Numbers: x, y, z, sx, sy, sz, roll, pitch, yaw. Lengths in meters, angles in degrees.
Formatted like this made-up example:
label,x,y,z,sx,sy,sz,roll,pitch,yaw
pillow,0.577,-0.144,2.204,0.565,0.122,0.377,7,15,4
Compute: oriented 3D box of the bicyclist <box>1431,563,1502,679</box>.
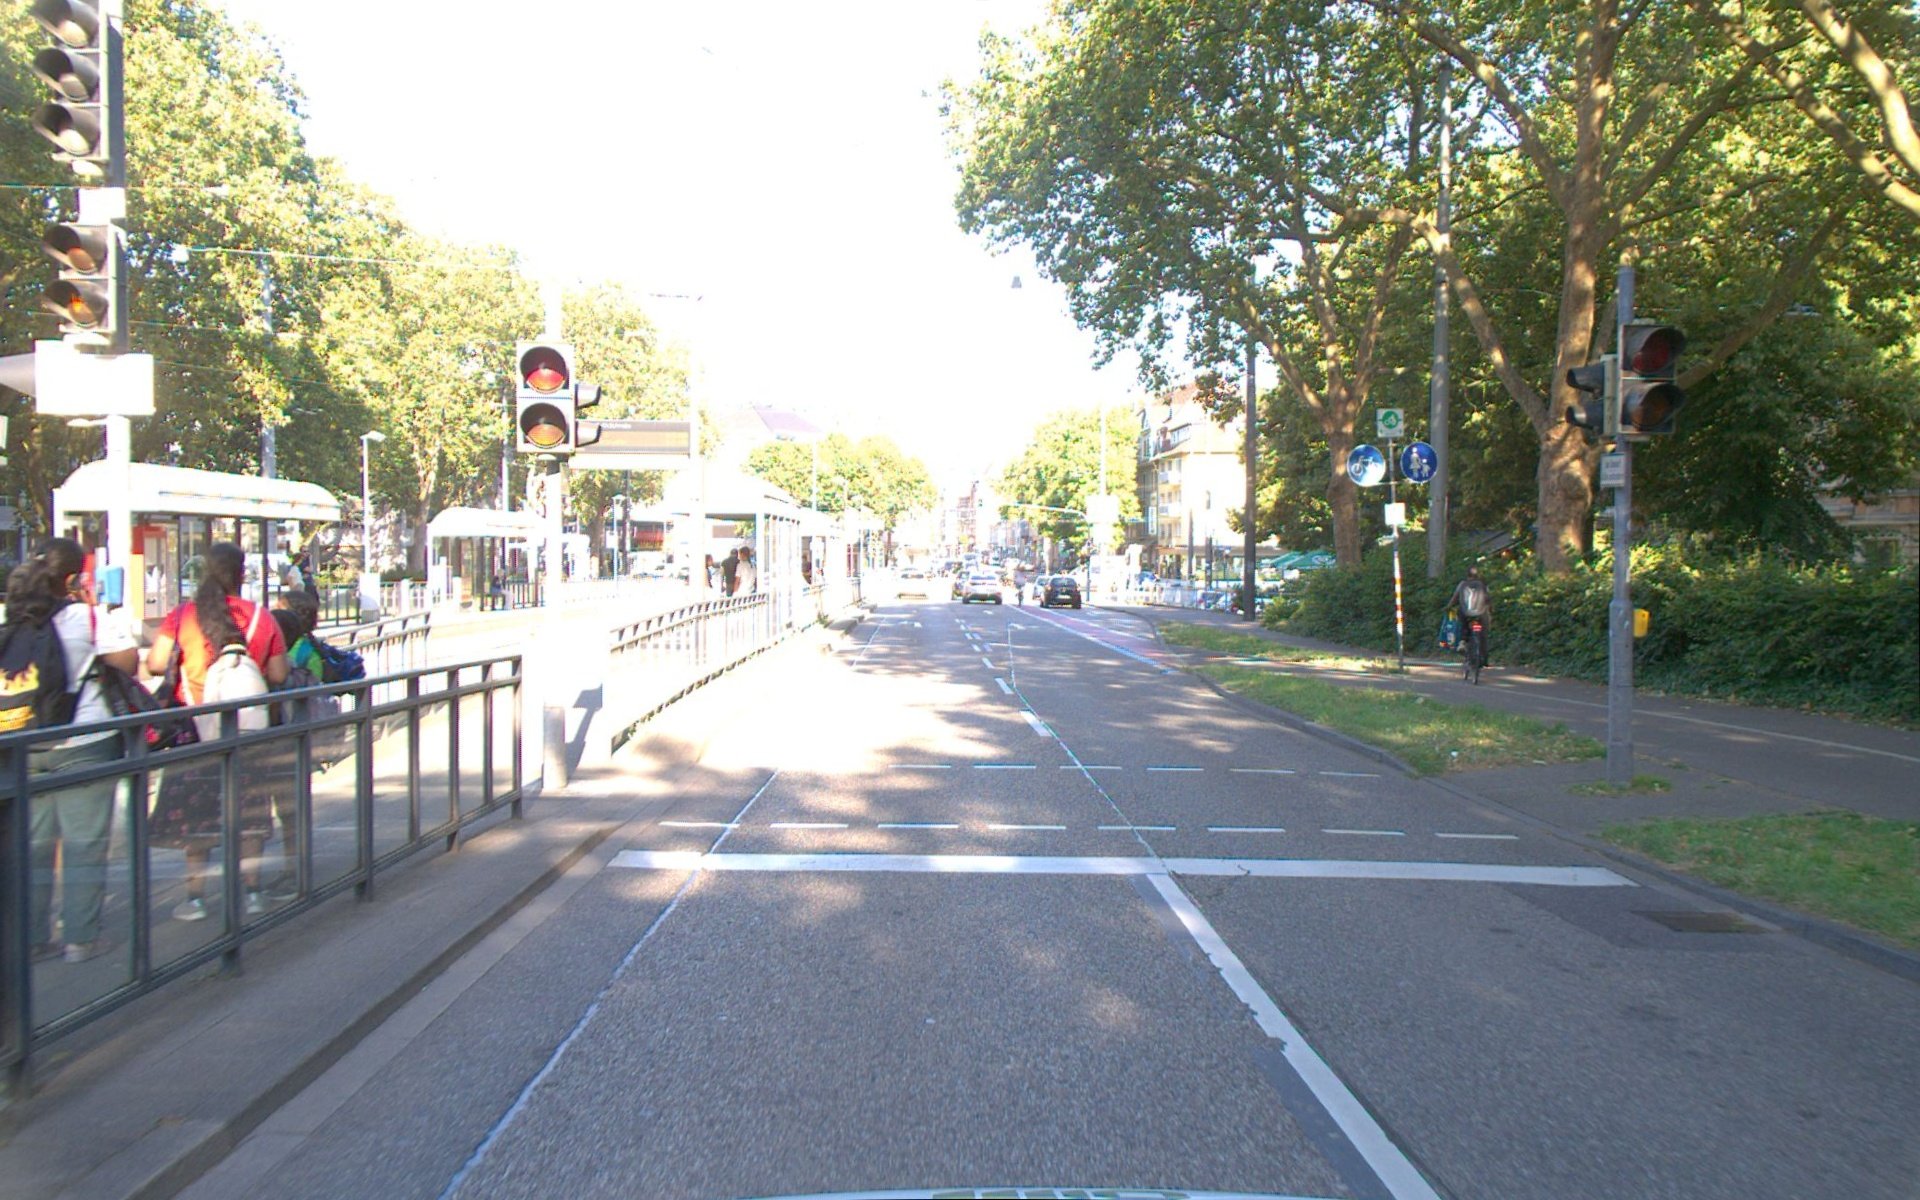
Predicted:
label,x,y,z,sx,sy,sz,roll,pitch,yaw
bicyclist,6.853,0.275,22.395,0.750,1.539,0.650,0,1,-2

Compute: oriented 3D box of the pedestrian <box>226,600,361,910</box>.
label,x,y,z,sx,sy,sz,roll,pitch,yaw
pedestrian,-2.996,0.683,7.458,0.407,1.343,0.359,-2,1,-1

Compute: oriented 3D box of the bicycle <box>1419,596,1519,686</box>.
label,x,y,z,sx,sy,sz,roll,pitch,yaw
bicycle,6.863,0.526,22.395,0.750,1.127,1.800,0,1,-2

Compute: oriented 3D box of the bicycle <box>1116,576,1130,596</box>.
label,x,y,z,sx,sy,sz,roll,pitch,yaw
bicycle,8.999,-0.782,91.372,0.488,1.093,1.799,1,0,-2

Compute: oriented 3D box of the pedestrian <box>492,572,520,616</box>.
label,x,y,z,sx,sy,sz,roll,pitch,yaw
pedestrian,-14.462,-0.201,52.659,0.656,1.347,0.756,-3,1,-3

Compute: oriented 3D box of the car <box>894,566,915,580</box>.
label,x,y,z,sx,sy,sz,roll,pitch,yaw
car,-6.121,-2.998,182.451,1.756,1.536,4.003,0,1,5

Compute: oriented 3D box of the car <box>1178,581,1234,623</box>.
label,x,y,z,sx,sy,sz,roll,pitch,yaw
car,11.736,0.083,79.072,1.759,1.931,4.356,1,0,-4

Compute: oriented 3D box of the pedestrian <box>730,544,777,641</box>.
label,x,y,z,sx,sy,sz,roll,pitch,yaw
pedestrian,-3.760,-0.136,30.169,0.727,1.724,0.791,1,1,-1

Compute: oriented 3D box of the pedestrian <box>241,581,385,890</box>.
label,x,y,z,sx,sy,sz,roll,pitch,yaw
pedestrian,-3.182,0.637,8.147,0.581,1.431,0.556,-3,1,-22

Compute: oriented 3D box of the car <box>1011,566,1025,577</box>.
label,x,y,z,sx,sy,sz,roll,pitch,yaw
car,8.467,-4.199,241.174,1.758,1.536,3.999,0,1,-2

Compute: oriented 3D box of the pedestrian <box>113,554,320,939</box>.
label,x,y,z,sx,sy,sz,roll,pitch,yaw
pedestrian,-3.132,0.594,7.007,0.578,1.546,0.514,-2,1,-1

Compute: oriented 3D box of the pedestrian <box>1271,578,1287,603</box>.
label,x,y,z,sx,sy,sz,roll,pitch,yaw
pedestrian,17.521,-0.523,90.821,0.636,1.361,0.631,3,1,29

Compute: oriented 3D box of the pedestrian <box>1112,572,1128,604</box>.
label,x,y,z,sx,sy,sz,roll,pitch,yaw
pedestrian,8.129,-0.590,83.909,0.634,1.590,0.632,3,1,17

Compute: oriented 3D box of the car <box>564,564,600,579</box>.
label,x,y,z,sx,sy,sz,roll,pitch,yaw
car,-39.858,-3.037,174.650,1.757,1.536,4.000,0,1,22

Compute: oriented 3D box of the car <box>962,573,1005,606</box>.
label,x,y,z,sx,sy,sz,roll,pitch,yaw
car,1.096,-0.534,80.779,1.890,1.498,4.854,0,1,-2

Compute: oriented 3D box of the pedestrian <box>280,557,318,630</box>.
label,x,y,z,sx,sy,sz,roll,pitch,yaw
pedestrian,-14.422,-0.153,36.097,0.581,1.570,0.626,1,0,-1

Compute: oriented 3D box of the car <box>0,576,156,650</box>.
label,x,y,z,sx,sy,sz,roll,pitch,yaw
car,-20.102,0.257,37.494,1.758,1.536,4.339,-2,1,-3

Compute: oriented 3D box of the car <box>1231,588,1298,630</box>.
label,x,y,z,sx,sy,sz,roll,pitch,yaw
car,12.286,0.353,66.985,1.758,1.606,4.441,1,0,-2

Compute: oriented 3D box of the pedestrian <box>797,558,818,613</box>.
label,x,y,z,sx,sy,sz,roll,pitch,yaw
pedestrian,-4.762,-0.452,51.681,0.583,1.707,0.590,1,1,3

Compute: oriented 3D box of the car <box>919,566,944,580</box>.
label,x,y,z,sx,sy,sz,roll,pitch,yaw
car,-3.230,-3.075,190.600,1.756,1.536,4.003,0,1,17

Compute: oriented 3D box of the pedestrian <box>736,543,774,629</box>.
label,x,y,z,sx,sy,sz,roll,pitch,yaw
pedestrian,-4.572,-0.320,36.858,0.637,1.873,0.711,1,1,8

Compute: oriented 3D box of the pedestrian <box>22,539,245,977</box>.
label,x,y,z,sx,sy,sz,roll,pitch,yaw
pedestrian,-3.172,0.575,6.363,0.510,1.595,0.507,-2,1,28

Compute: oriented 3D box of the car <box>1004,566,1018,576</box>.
label,x,y,z,sx,sy,sz,roll,pitch,yaw
car,7.626,-4.341,247.309,1.758,1.536,3.999,0,1,-2

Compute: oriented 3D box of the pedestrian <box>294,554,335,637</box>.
label,x,y,z,sx,sy,sz,roll,pitch,yaw
pedestrian,-14.375,-0.102,36.837,0.634,1.803,0.650,1,0,1

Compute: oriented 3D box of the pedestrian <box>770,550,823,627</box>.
label,x,y,z,sx,sy,sz,roll,pitch,yaw
pedestrian,-3.648,-0.259,36.894,0.786,1.662,0.863,2,1,36

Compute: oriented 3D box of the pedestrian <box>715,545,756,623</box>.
label,x,y,z,sx,sy,sz,roll,pitch,yaw
pedestrian,-5.095,-0.368,37.482,0.646,1.752,0.701,1,1,-37

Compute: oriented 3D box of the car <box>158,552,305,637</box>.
label,x,y,z,sx,sy,sz,roll,pitch,yaw
car,-20.280,-0.174,46.333,2.026,2.161,5.087,-2,1,-3

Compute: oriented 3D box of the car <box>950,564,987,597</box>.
label,x,y,z,sx,sy,sz,roll,pitch,yaw
car,0.422,-1.051,87.978,1.764,1.666,4.044,0,1,-2

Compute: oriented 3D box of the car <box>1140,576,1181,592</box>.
label,x,y,z,sx,sy,sz,roll,pitch,yaw
car,14.815,-1.188,122.459,2.843,1.183,2.074,1,0,1

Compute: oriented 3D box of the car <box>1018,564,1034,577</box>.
label,x,y,z,sx,sy,sz,roll,pitch,yaw
car,9.341,-4.177,234.670,2.062,1.807,4.340,0,1,-2

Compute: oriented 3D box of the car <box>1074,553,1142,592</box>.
label,x,y,z,sx,sy,sz,roll,pitch,yaw
car,10.944,-2.033,122.462,4.911,2.791,2.074,1,0,1

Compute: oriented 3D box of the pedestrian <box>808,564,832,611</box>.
label,x,y,z,sx,sy,sz,roll,pitch,yaw
pedestrian,-4.093,-0.368,48.344,0.665,1.331,0.593,1,1,-1

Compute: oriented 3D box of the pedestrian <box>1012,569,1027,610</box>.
label,x,y,z,sx,sy,sz,roll,pitch,yaw
pedestrian,2.793,-0.511,77.226,0.643,1.903,0.677,0,1,-2

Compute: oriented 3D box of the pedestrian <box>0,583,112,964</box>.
label,x,y,z,sx,sy,sz,roll,pitch,yaw
pedestrian,-3.895,0.690,6.778,0.509,1.497,0.514,-2,1,-1

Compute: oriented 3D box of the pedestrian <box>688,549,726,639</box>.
label,x,y,z,sx,sy,sz,roll,pitch,yaw
pedestrian,-4.585,-0.108,29.968,0.576,1.594,0.650,1,1,-1

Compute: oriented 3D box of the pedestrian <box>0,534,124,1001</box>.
label,x,y,z,sx,sy,sz,roll,pitch,yaw
pedestrian,-3.437,0.574,5.949,0.510,1.595,0.507,-2,1,28

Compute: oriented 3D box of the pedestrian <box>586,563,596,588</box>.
label,x,y,z,sx,sy,sz,roll,pitch,yaw
pedestrian,-23.343,-1.543,104.589,0.524,1.579,0.676,0,1,-2

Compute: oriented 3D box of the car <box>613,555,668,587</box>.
label,x,y,z,sx,sy,sz,roll,pitch,yaw
car,-33.043,-3.004,171.368,2.444,3.220,6.536,0,1,21

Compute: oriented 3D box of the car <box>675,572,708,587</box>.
label,x,y,z,sx,sy,sz,roll,pitch,yaw
car,-27.535,-2.136,169.679,1.756,1.536,4.013,0,1,17

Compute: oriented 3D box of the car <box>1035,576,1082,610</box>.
label,x,y,z,sx,sy,sz,roll,pitch,yaw
car,4.483,-0.335,75.667,1.764,1.464,4.044,1,1,-2

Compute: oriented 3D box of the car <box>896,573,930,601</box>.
label,x,y,z,sx,sy,sz,roll,pitch,yaw
car,-2.579,-0.715,89.614,1.772,1.477,3.999,0,1,-2

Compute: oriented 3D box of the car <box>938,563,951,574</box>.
label,x,y,z,sx,sy,sz,roll,pitch,yaw
car,-2.238,-4.433,235.570,1.758,1.536,3.998,0,1,-3

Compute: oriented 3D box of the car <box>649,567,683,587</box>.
label,x,y,z,sx,sy,sz,roll,pitch,yaw
car,-30.268,-2.360,170.310,1.756,1.989,4.003,0,1,17
